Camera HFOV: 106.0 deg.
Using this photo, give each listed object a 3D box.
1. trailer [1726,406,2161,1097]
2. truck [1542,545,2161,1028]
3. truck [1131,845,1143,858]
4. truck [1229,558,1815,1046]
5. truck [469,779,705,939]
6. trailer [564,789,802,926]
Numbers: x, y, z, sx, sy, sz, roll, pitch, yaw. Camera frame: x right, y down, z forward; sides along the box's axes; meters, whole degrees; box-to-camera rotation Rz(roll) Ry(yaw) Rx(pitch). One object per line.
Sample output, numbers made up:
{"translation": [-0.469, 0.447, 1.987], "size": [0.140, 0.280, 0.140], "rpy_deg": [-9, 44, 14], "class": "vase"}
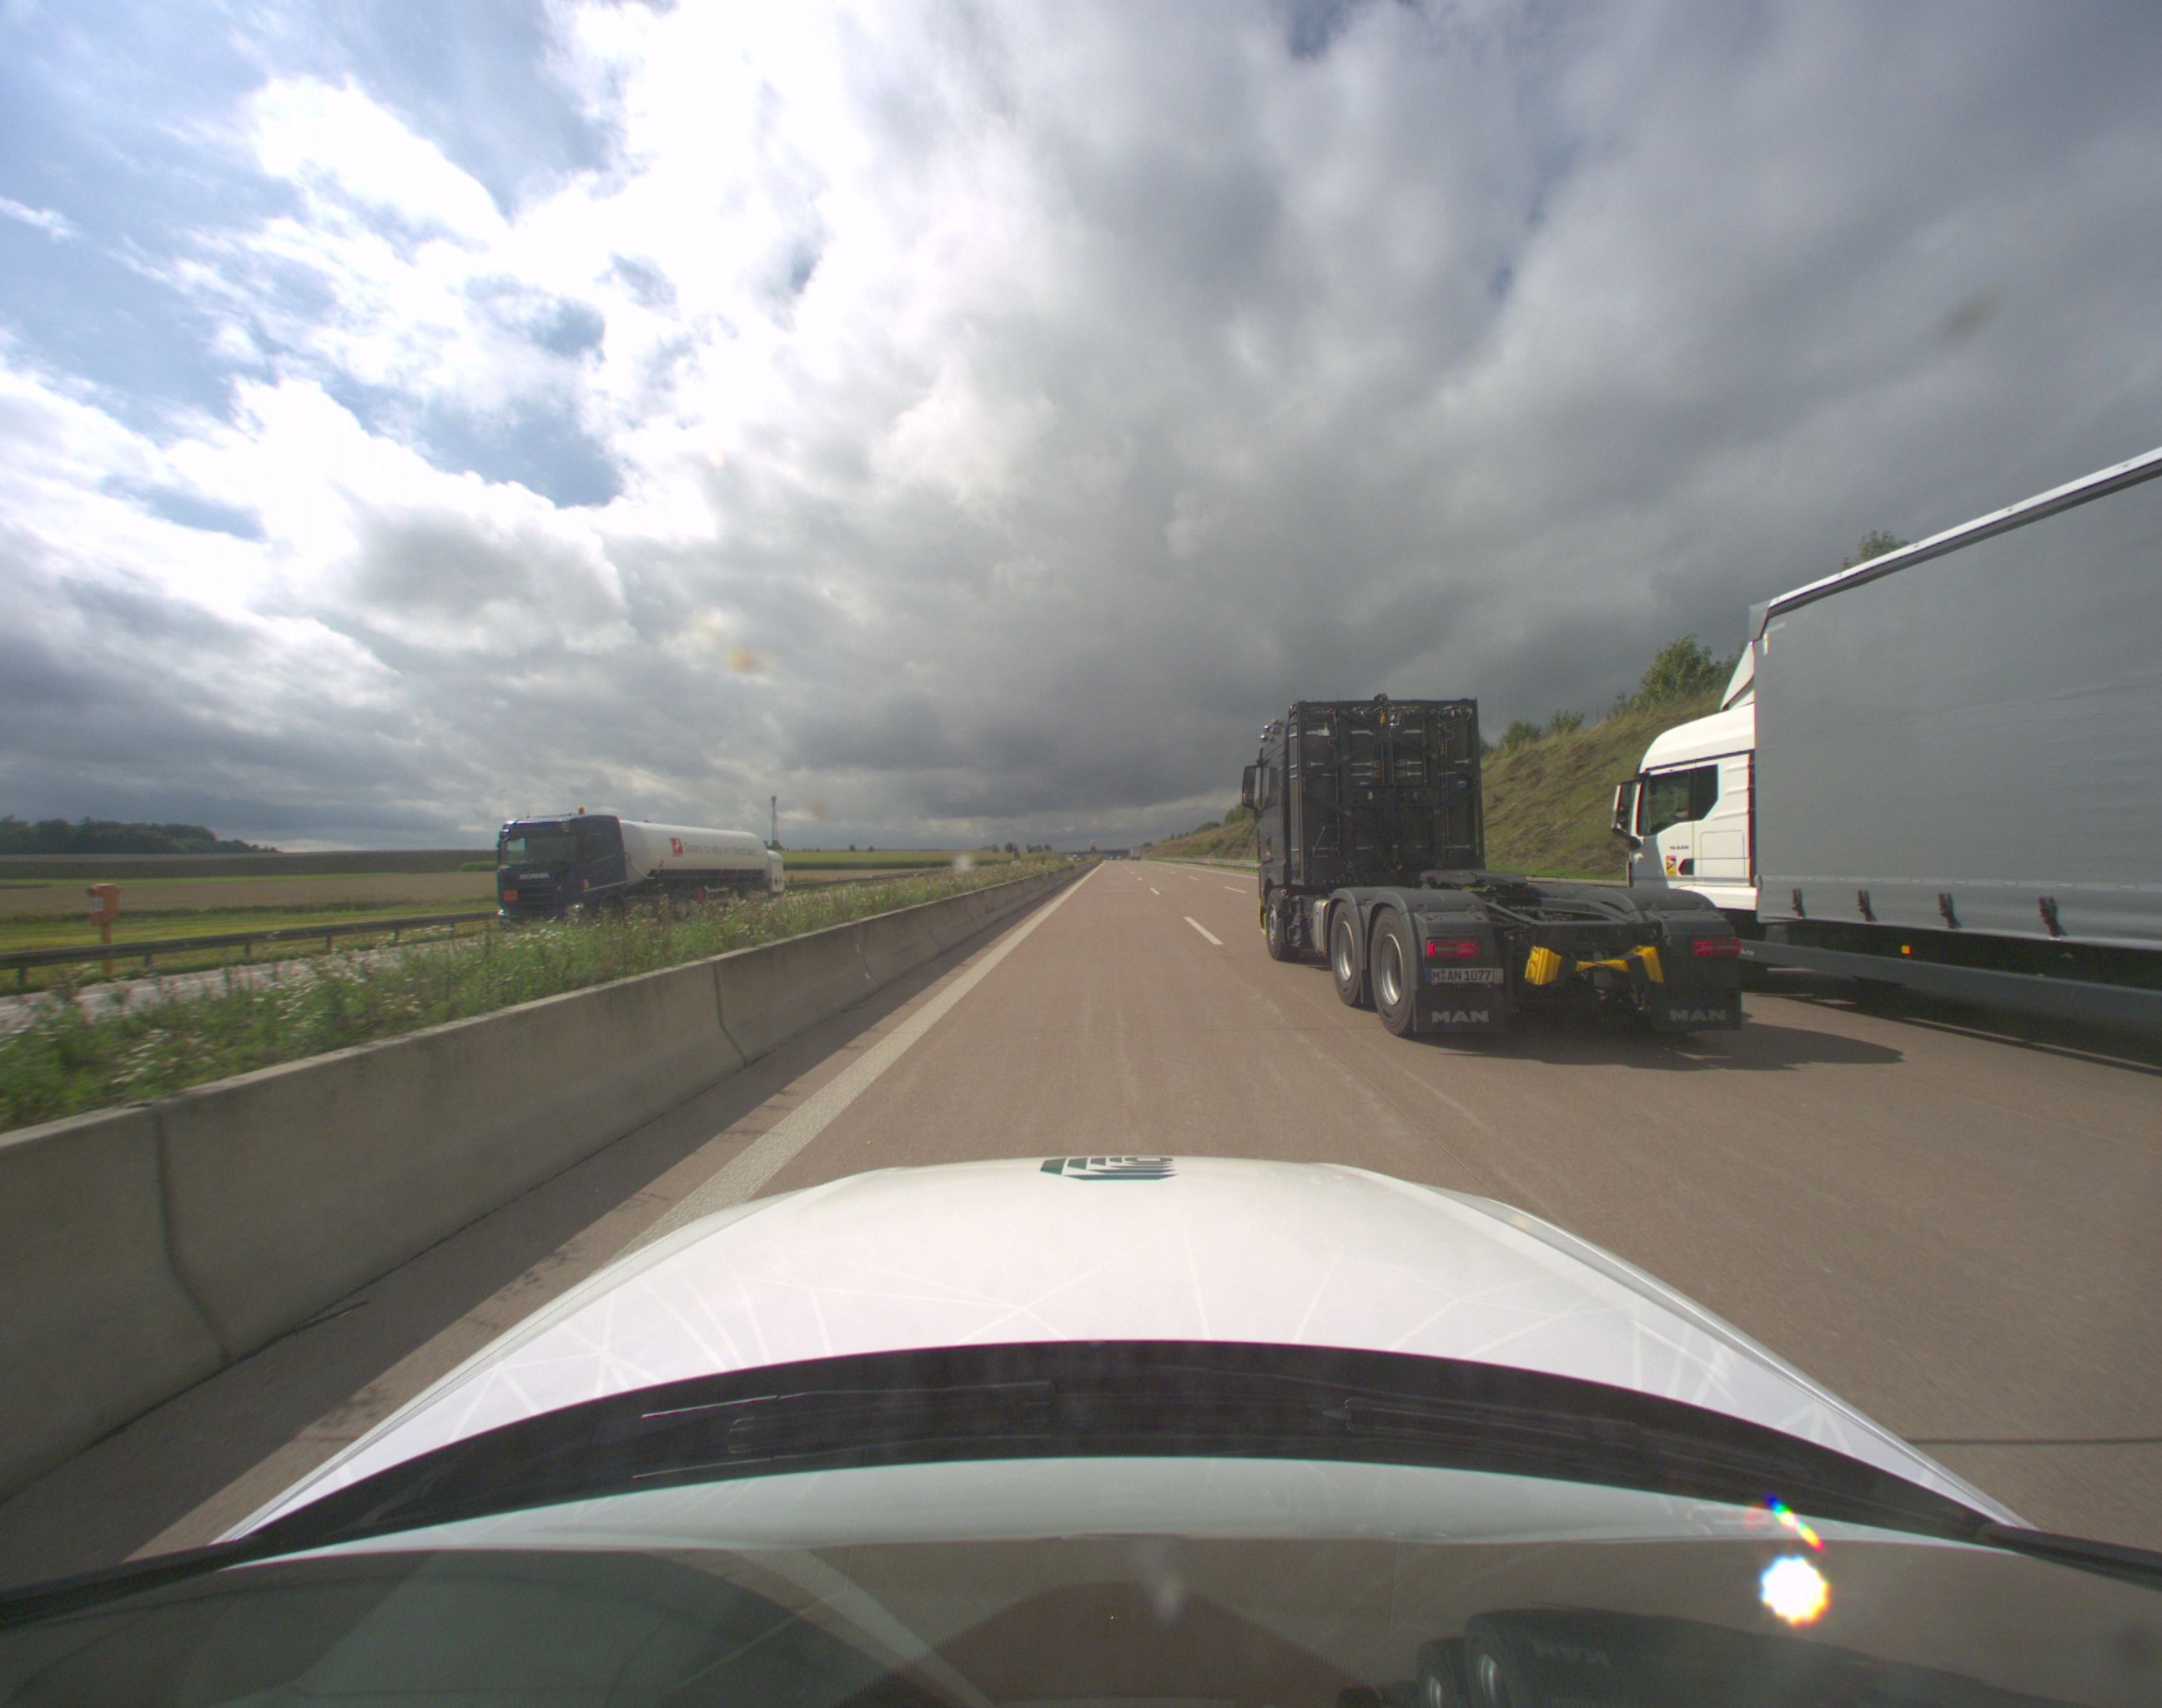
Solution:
{"translation": [7.640, -0.610, 3.599], "size": [2.738, 4.012, 8.670], "rpy_deg": [0, 0, 0], "class": "trailer"}
{"translation": [7.676, -0.541, 8.855], "size": [2.739, 3.892, 4.545], "rpy_deg": [0, -1, 0], "class": "truck"}
{"translation": [17.106, -0.718, 250.183], "size": [3.602, 3.945, 11.182], "rpy_deg": [0, 0, 3], "class": "truck"}
{"translation": [3.968, -0.364, 10.108], "size": [2.838, 3.550, 8.319], "rpy_deg": [0, 0, 1], "class": "truck"}
{"translation": [-14.658, 0.123, 24.907], "size": [2.880, 4.098, 6.340], "rpy_deg": [-3, 0, 3], "class": "truck"}
{"translation": [-14.339, 0.104, 30.961], "size": [2.880, 4.098, 11.045], "rpy_deg": [-3, 0, 3], "class": "trailer"}
